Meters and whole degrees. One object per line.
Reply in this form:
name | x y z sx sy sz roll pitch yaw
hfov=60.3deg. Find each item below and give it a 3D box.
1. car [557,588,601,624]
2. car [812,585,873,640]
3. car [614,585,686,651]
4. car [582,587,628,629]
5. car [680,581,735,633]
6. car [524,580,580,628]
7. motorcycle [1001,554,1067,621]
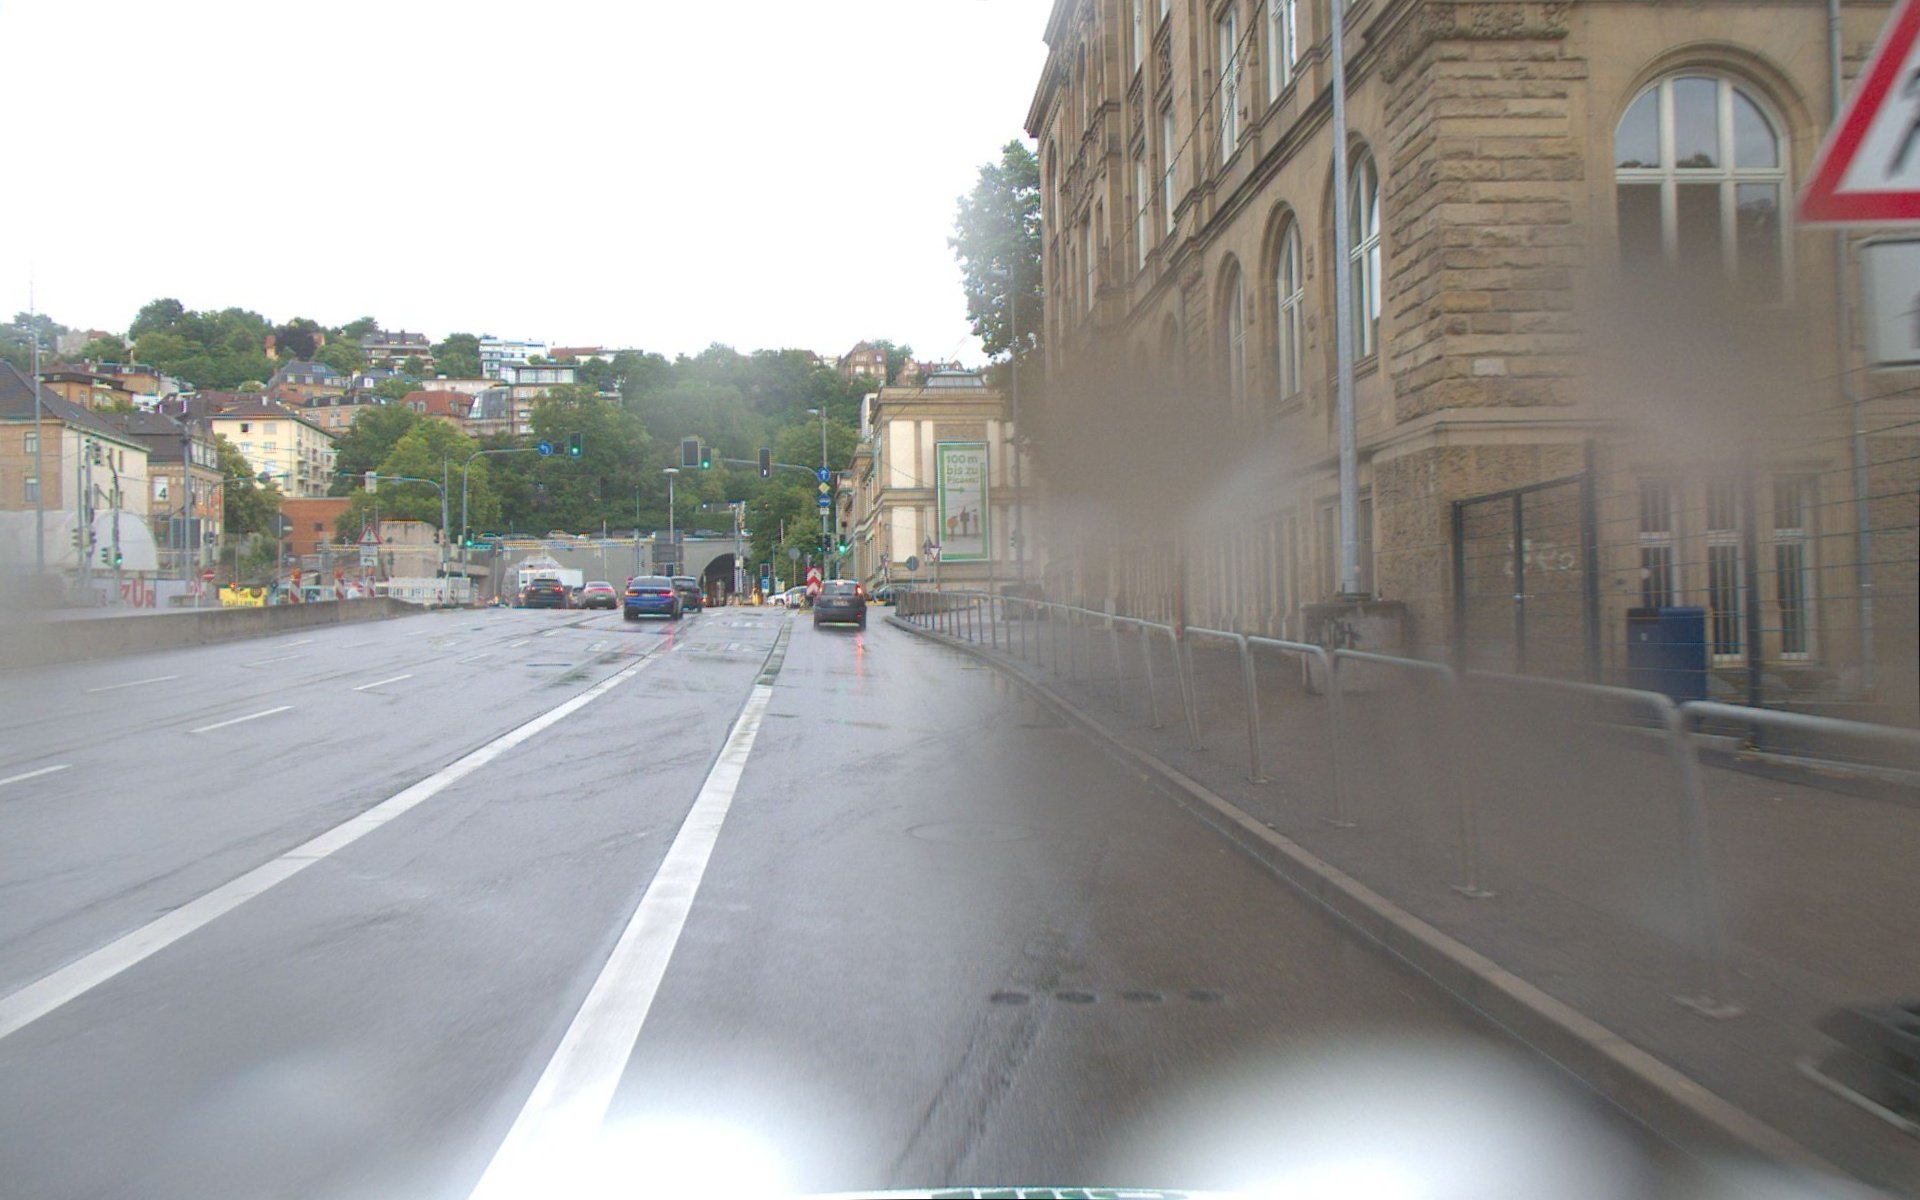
car | -23.378 0.379 101.542 1.954 2.049 3.996 -1 -2 -4
car | -3.697 0.412 51.501 1.777 1.553 3.995 -2 -2 -5
car | -10.538 0.655 56.428 2.064 2.086 3.994 -1 -2 -6
car | -18.660 0.431 87.161 2.013 2.049 3.993 -1 -2 -7
car | -10.697 0.333 70.353 1.740 2.049 3.999 -2 -2 -1
car | -18.943 0.225 76.905 1.978 2.049 3.994 -1 -2 -6
motorcycle | 2.324 -0.411 52.697 1.759 2.049 3.811 -1 1 -3
